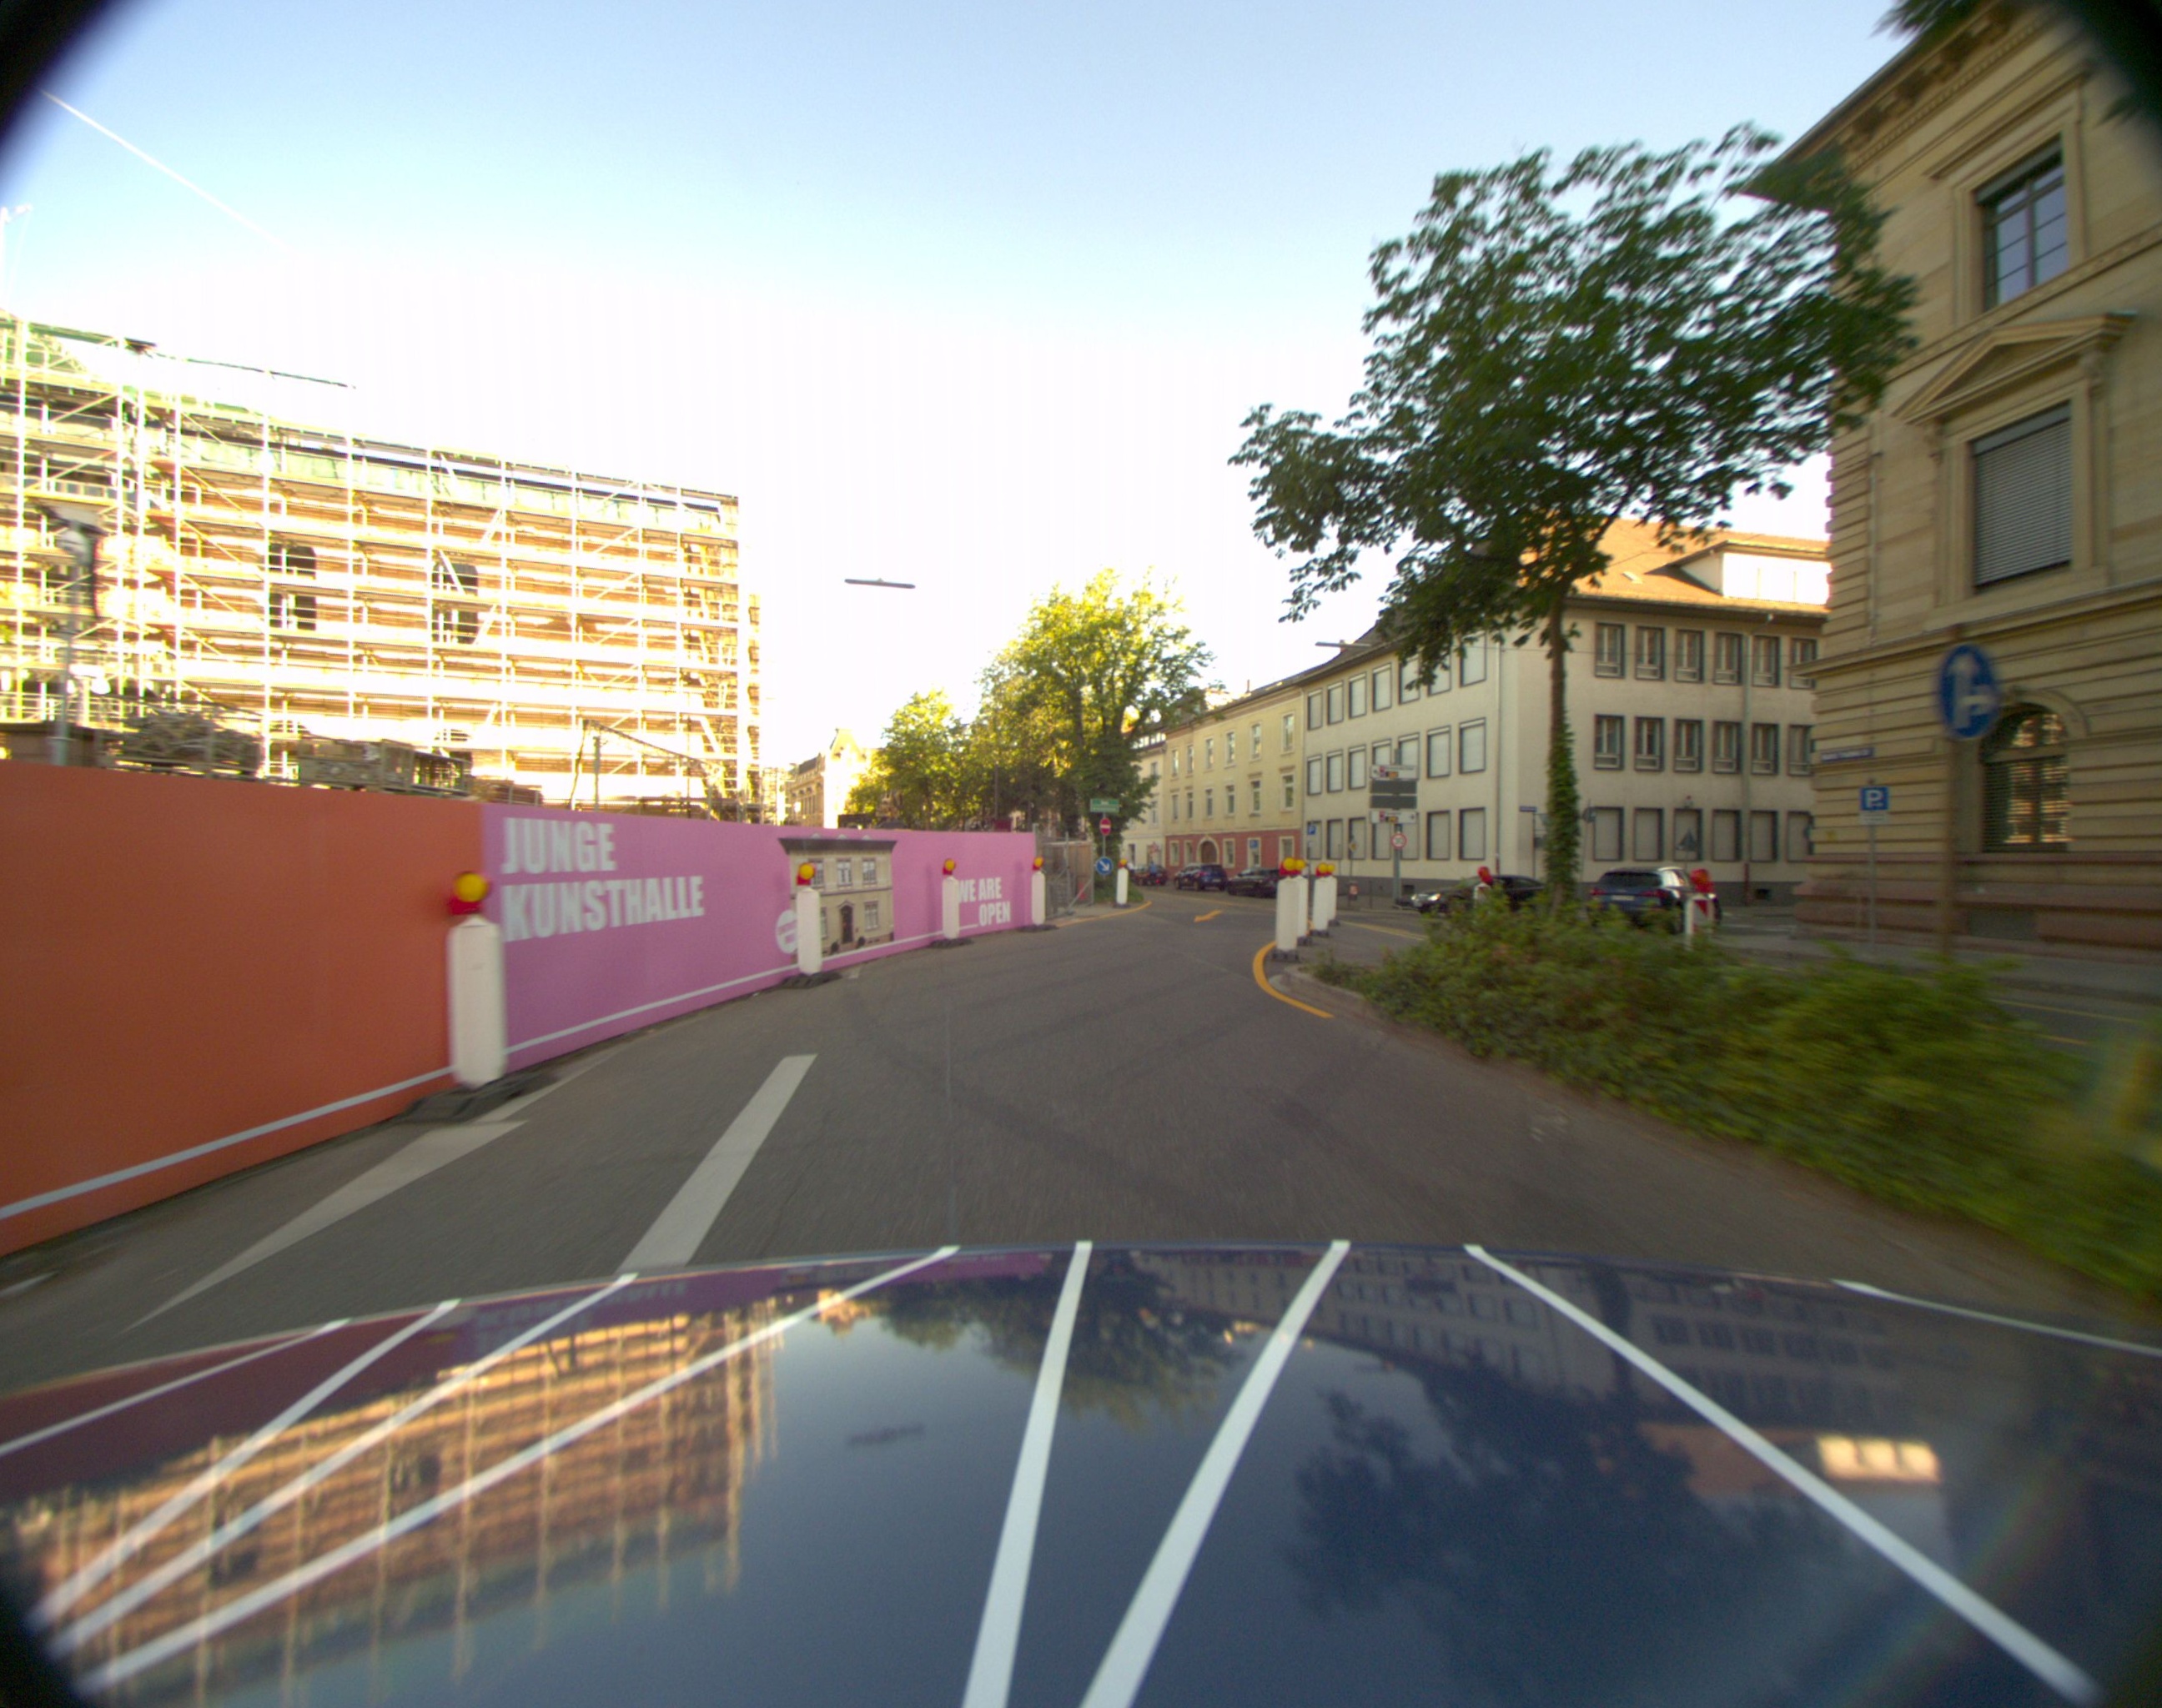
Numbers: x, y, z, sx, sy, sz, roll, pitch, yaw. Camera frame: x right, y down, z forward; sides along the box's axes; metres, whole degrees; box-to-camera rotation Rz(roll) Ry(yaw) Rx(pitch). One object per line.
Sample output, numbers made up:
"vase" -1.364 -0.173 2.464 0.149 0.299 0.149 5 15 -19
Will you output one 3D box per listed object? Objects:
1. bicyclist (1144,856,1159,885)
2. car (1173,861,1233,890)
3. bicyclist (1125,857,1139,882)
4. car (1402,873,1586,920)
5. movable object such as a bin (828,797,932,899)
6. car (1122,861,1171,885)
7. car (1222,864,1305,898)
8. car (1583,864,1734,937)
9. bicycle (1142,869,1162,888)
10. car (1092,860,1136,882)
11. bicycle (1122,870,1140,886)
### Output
"bicyclist" 4.270 0.996 46.123 0.583 1.665 0.835 3 0 -15
"car" 7.034 1.196 44.257 1.808 1.562 4.148 1 0 -18
"bicyclist" 3.388 1.032 50.634 0.576 1.649 1.009 3 0 -13
"car" 12.601 1.290 23.337 4.774 1.315 1.766 1 0 -4
"movable object such as a bin" -6.979 -0.172 27.028 3.173 3.281 4.381 1 0 -10
"car" 4.500 1.285 52.717 1.774 1.479 4.186 -1 0 -21
"car" 8.922 1.274 37.673 1.883 1.499 4.780 -1 0 -16
"car" 15.287 1.172 20.032 4.665 1.661 1.878 2 0 -36
"bicycle" 4.283 1.463 46.023 0.612 1.064 1.895 2 0 -14
"car" 2.465 1.244 57.782 1.821 1.562 4.382 1 0 -21
"bicycle" 3.338 1.570 50.717 0.589 0.982 2.028 2 0 -13
